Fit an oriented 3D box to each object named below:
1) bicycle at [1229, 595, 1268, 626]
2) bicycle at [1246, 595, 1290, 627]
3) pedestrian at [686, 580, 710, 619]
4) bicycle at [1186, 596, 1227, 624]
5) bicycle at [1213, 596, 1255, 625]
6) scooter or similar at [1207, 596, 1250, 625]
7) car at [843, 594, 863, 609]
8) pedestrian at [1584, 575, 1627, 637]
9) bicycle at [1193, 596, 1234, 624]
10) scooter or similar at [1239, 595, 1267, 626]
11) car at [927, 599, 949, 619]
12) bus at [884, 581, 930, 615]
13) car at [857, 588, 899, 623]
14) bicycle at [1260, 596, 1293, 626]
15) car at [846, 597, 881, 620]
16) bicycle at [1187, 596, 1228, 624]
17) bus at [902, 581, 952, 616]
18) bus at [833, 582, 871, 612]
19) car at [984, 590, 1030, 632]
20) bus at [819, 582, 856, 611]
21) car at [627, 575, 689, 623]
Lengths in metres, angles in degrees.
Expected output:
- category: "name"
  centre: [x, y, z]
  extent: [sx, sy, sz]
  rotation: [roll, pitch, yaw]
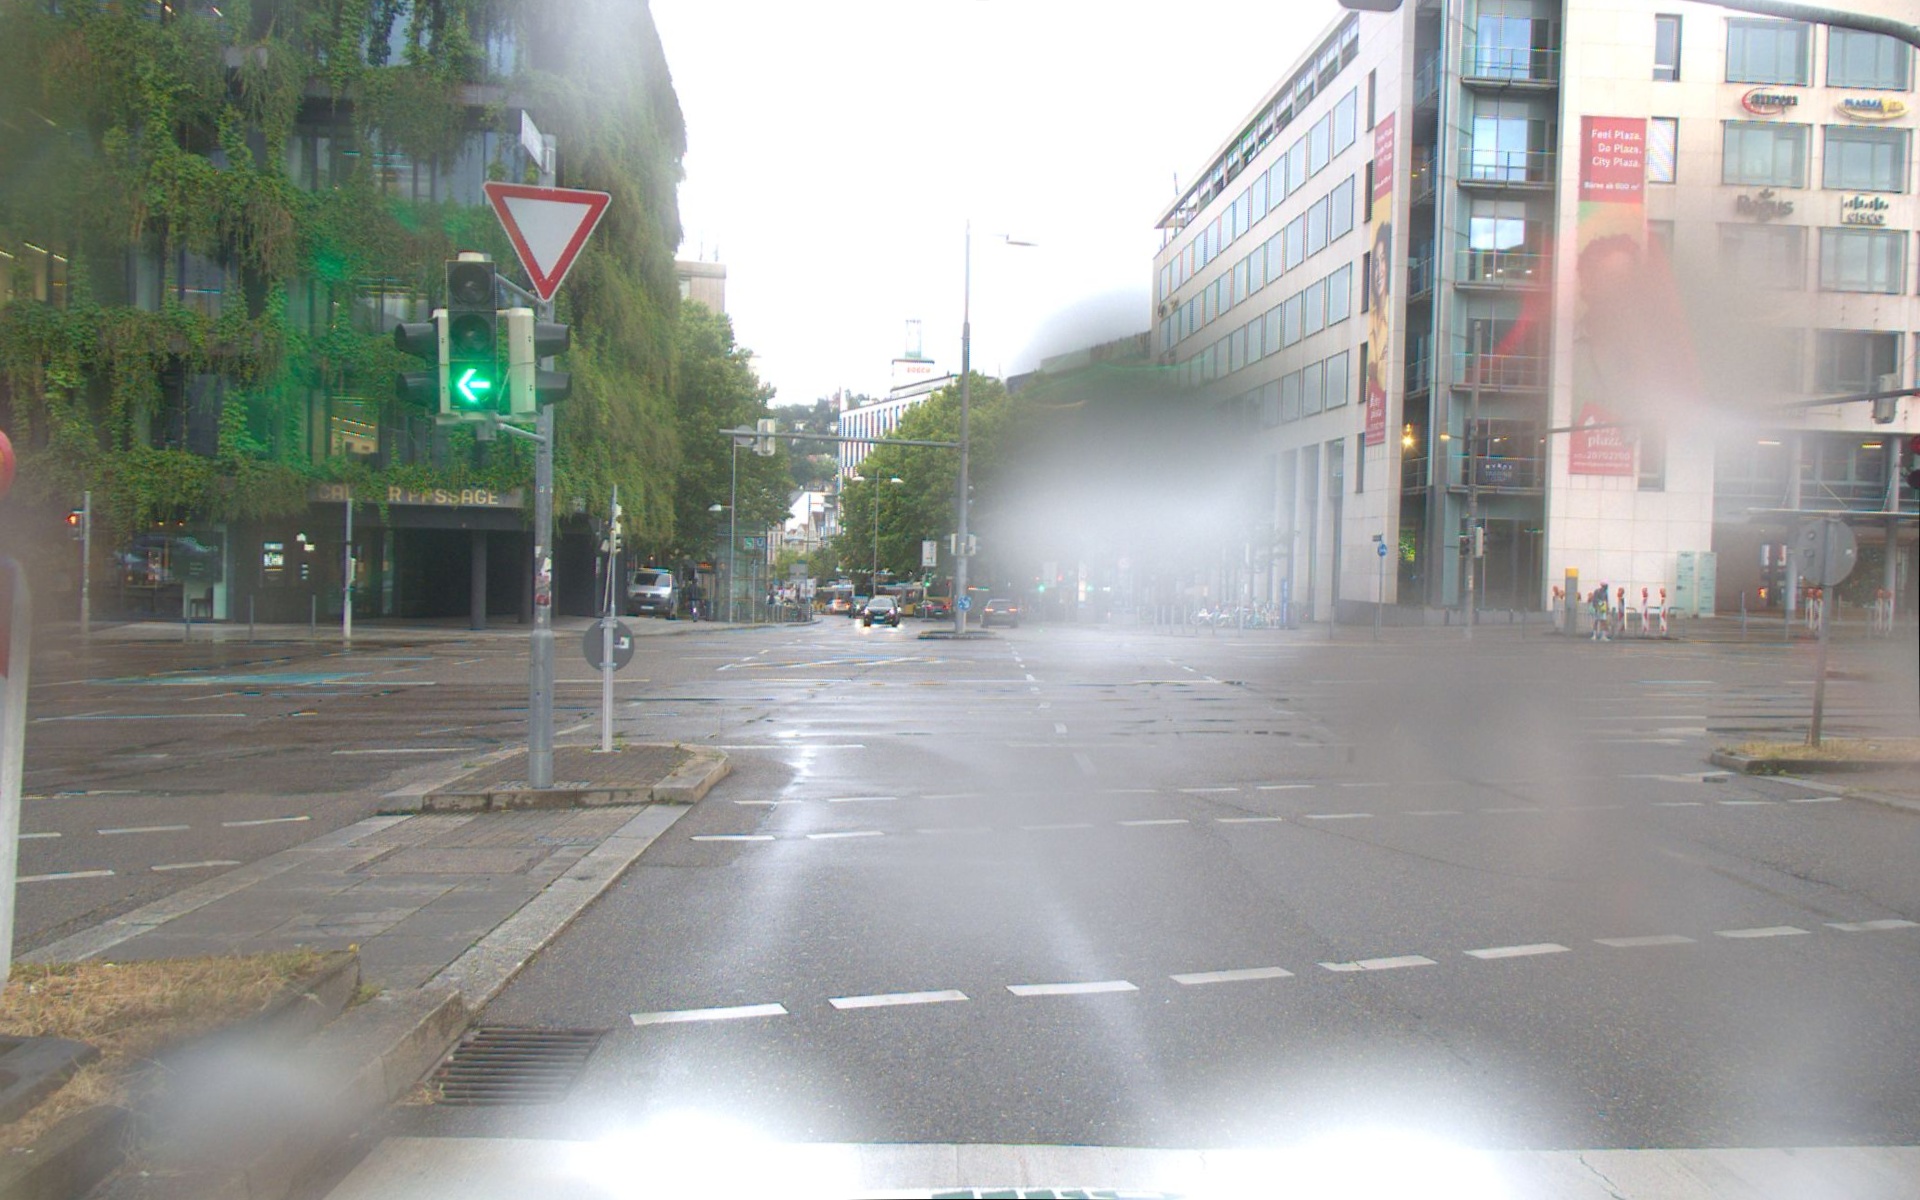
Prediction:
- category: "bicycle"
  centre: [11.584, 0.424, 66.544]
  extent: [0.578, 1.215, 1.766]
  rotation: [1, 0, -28]
- category: "bicycle"
  centre: [12.121, 0.426, 65.000]
  extent: [1.590, 1.215, 0.586]
  rotation: [1, -1, 25]
- category: "pedestrian"
  centre: [-11.601, -0.013, 73.154]
  extent: [0.915, 1.673, 0.774]
  rotation: [1, -1, -1]
- category: "bicycle"
  centre: [10.862, 0.441, 72.912]
  extent: [1.741, 1.215, 0.586]
  rotation: [1, -1, 1]
- category: "bicycle"
  centre: [11.891, 0.453, 71.758]
  extent: [1.741, 1.215, 0.586]
  rotation: [1, -1, 1]
- category: "scooter or similar"
  centre: [11.547, 0.444, 71.130]
  extent: [1.741, 1.215, 0.586]
  rotation: [1, -1, 1]
- category: "car"
  centre: [-10.829, 0.163, 167.856]
  extent: [1.745, 1.534, 3.999]
  rotation: [1, 0, -1]
- category: "pedestrian"
  centre: [19.519, 0.191, 50.027]
  extent: [0.942, 1.848, 0.836]
  rotation: [1, -1, -1]
- category: "bicycle"
  centre: [11.421, 0.458, 74.472]
  extent: [1.741, 1.215, 0.586]
  rotation: [1, -1, 1]
- category: "scooter or similar"
  centre: [11.385, 0.410, 64.304]
  extent: [0.946, 1.215, 0.453]
  rotation: [1, -1, 40]
- category: "car"
  centre: [-1.743, 0.747, 131.128]
  extent: [1.745, 1.534, 3.999]
  rotation: [1, 0, -1]
- category: "bus"
  centre: [-4.970, -0.230, 152.994]
  extent: [2.585, 3.048, 7.417]
  rotation: [0, 0, -16]
- category: "car"
  centre: [-4.360, 0.299, 87.636]
  extent: [2.121, 1.796, 5.108]
  rotation: [1, 0, -4]
- category: "bicycle"
  centre: [12.859, 0.449, 67.121]
  extent: [0.575, 1.215, 1.776]
  rotation: [1, -1, 37]
- category: "car"
  centre: [-7.816, 0.678, 133.589]
  extent: [2.126, 1.796, 5.096]
  rotation: [1, 0, -12]
- category: "bicycle"
  centre: [11.005, 0.446, 73.548]
  extent: [1.741, 1.215, 0.586]
  rotation: [1, -1, 1]
- category: "bus"
  centre: [-2.974, -0.165, 145.878]
  extent: [2.585, 3.048, 7.417]
  rotation: [0, 0, -16]
- category: "bus"
  centre: [-11.347, -0.327, 173.043]
  extent: [2.585, 3.048, 7.296]
  rotation: [0, 0, -16]
- category: "car"
  centre: [2.397, 0.565, 83.958]
  extent: [1.511, 2.049, 4.672]
  rotation: [1, 0, 12]
- category: "bus"
  centre: [-13.344, -0.397, 180.110]
  extent: [2.585, 3.048, 7.417]
  rotation: [0, 0, -16]
- category: "car"
  centre: [-12.390, -0.032, 68.120]
  extent: [1.832, 1.871, 3.999]
  rotation: [1, 0, -1]
